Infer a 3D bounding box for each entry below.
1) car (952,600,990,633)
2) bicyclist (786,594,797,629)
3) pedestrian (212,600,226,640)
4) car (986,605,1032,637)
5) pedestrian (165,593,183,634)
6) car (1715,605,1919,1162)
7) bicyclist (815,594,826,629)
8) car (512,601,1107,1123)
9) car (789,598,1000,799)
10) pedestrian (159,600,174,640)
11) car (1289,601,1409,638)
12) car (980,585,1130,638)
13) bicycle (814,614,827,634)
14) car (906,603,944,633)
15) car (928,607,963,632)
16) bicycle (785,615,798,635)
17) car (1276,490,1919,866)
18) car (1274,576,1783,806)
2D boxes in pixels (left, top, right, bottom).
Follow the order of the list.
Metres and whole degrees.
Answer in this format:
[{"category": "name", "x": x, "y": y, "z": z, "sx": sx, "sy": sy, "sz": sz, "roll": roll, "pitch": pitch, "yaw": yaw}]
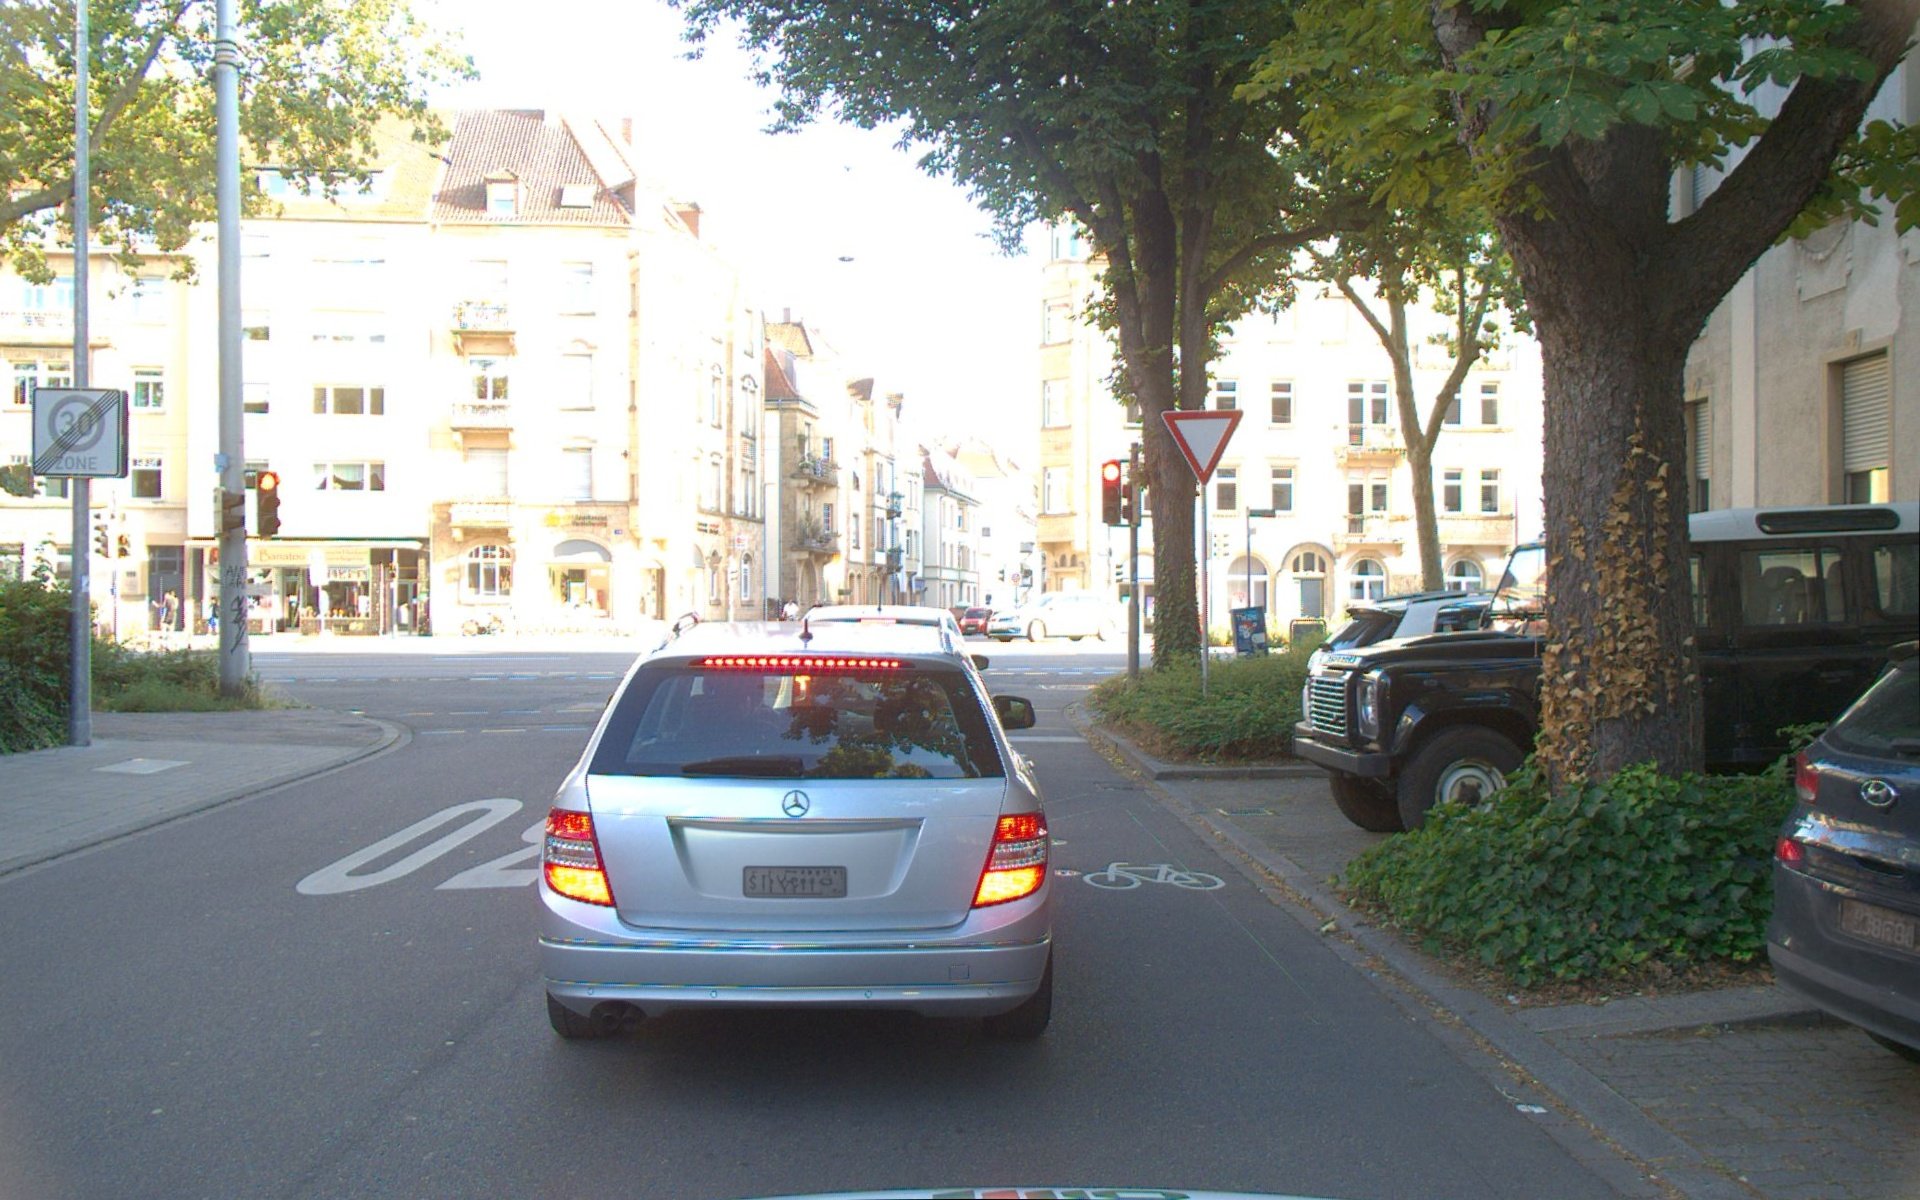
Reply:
[{"category": "car", "x": 0.723, "y": 1.002, "z": 103.243, "sx": 1.896, "sy": 1.993, "sz": 4.153, "roll": 0, "pitch": 0, "yaw": 7}, {"category": "bicyclist", "x": -7.479, "y": 0.517, "z": 73.322, "sx": 0.457, "sy": 1.541, "sz": 0.655, "roll": 0, "pitch": 0, "yaw": -4}, {"category": "pedestrian", "x": -28.402, "y": 0.759, "z": 63.418, "sx": 0.466, "sy": 1.537, "sz": 0.428, "roll": 0, "pitch": 0, "yaw": -21}, {"category": "car", "x": 2.562, "y": 1.085, "z": 85.936, "sx": 1.684, "sy": 1.504, "sz": 4.004, "roll": -2, "pitch": 0, "yaw": 11}, {"category": "pedestrian", "x": -29.726, "y": 0.515, "z": 62.541, "sx": 0.557, "sy": 1.537, "sz": 0.499, "roll": 0, "pitch": 0, "yaw": -20}, {"category": "car", "x": 4.310, "y": 0.689, "z": 4.608, "sx": 3.677, "sy": 1.446, "sz": 1.626, "roll": -2, "pitch": -1, "yaw": -6}, {"category": "bicyclist", "x": -6.190, "y": 0.517, "z": 73.411, "sx": 0.457, "sy": 1.547, "sz": 0.693, "roll": 0, "pitch": 0, "yaw": -4}, {"category": "car", "x": -0.517, "y": 0.754, "z": 6.444, "sx": 1.657, "sy": 1.454, "sz": 3.490, "roll": 1, "pitch": 0, "yaw": -3}, {"category": "car", "x": -0.538, "y": 0.707, "z": 13.681, "sx": 1.502, "sy": 1.415, "sz": 3.597, "roll": 0, "pitch": 0, "yaw": -2}, {"category": "pedestrian", "x": -30.457, "y": 0.754, "z": 63.445, "sx": 0.502, "sy": 1.537, "sz": 0.532, "roll": 0, "pitch": 0, "yaw": -28}, {"category": "car", "x": 11.764, "y": 0.584, "z": 50.125, "sx": 3.296, "sy": 1.087, "sz": 1.380, "roll": 0, "pitch": 0, "yaw": -2}, {"category": "car", "x": 2.842, "y": 0.301, "z": 49.277, "sx": 4.243, "sy": 1.487, "sz": 1.768, "roll": -1, "pitch": 1, "yaw": -32}, {"category": "bicycle", "x": -6.188, "y": 1.075, "z": 73.327, "sx": 0.557, "sy": 0.849, "sz": 1.564, "roll": 0, "pitch": 0, "yaw": -4}, {"category": "car", "x": -2.127, "y": 1.129, "z": 102.382, "sx": 1.615, "sy": 1.814, "sz": 3.866, "roll": 0, "pitch": -1, "yaw": 10}, {"category": "car", "x": -0.957, "y": 1.282, "z": 108.899, "sx": 1.615, "sy": 1.632, "sz": 3.866, "roll": 0, "pitch": -1, "yaw": 10}, {"category": "bicycle", "x": -7.482, "y": 1.091, "z": 73.424, "sx": 0.557, "sy": 0.849, "sz": 1.564, "roll": 0, "pitch": 0, "yaw": -4}, {"category": "car", "x": 4.377, "y": 0.405, "z": 10.239, "sx": 4.402, "sy": 1.990, "sz": 1.791, "roll": -2, "pitch": 0, "yaw": -4}, {"category": "car", "x": 4.421, "y": 0.661, "z": 13.140, "sx": 3.415, "sy": 1.614, "sz": 1.708, "roll": -1, "pitch": 0, "yaw": -7}]
